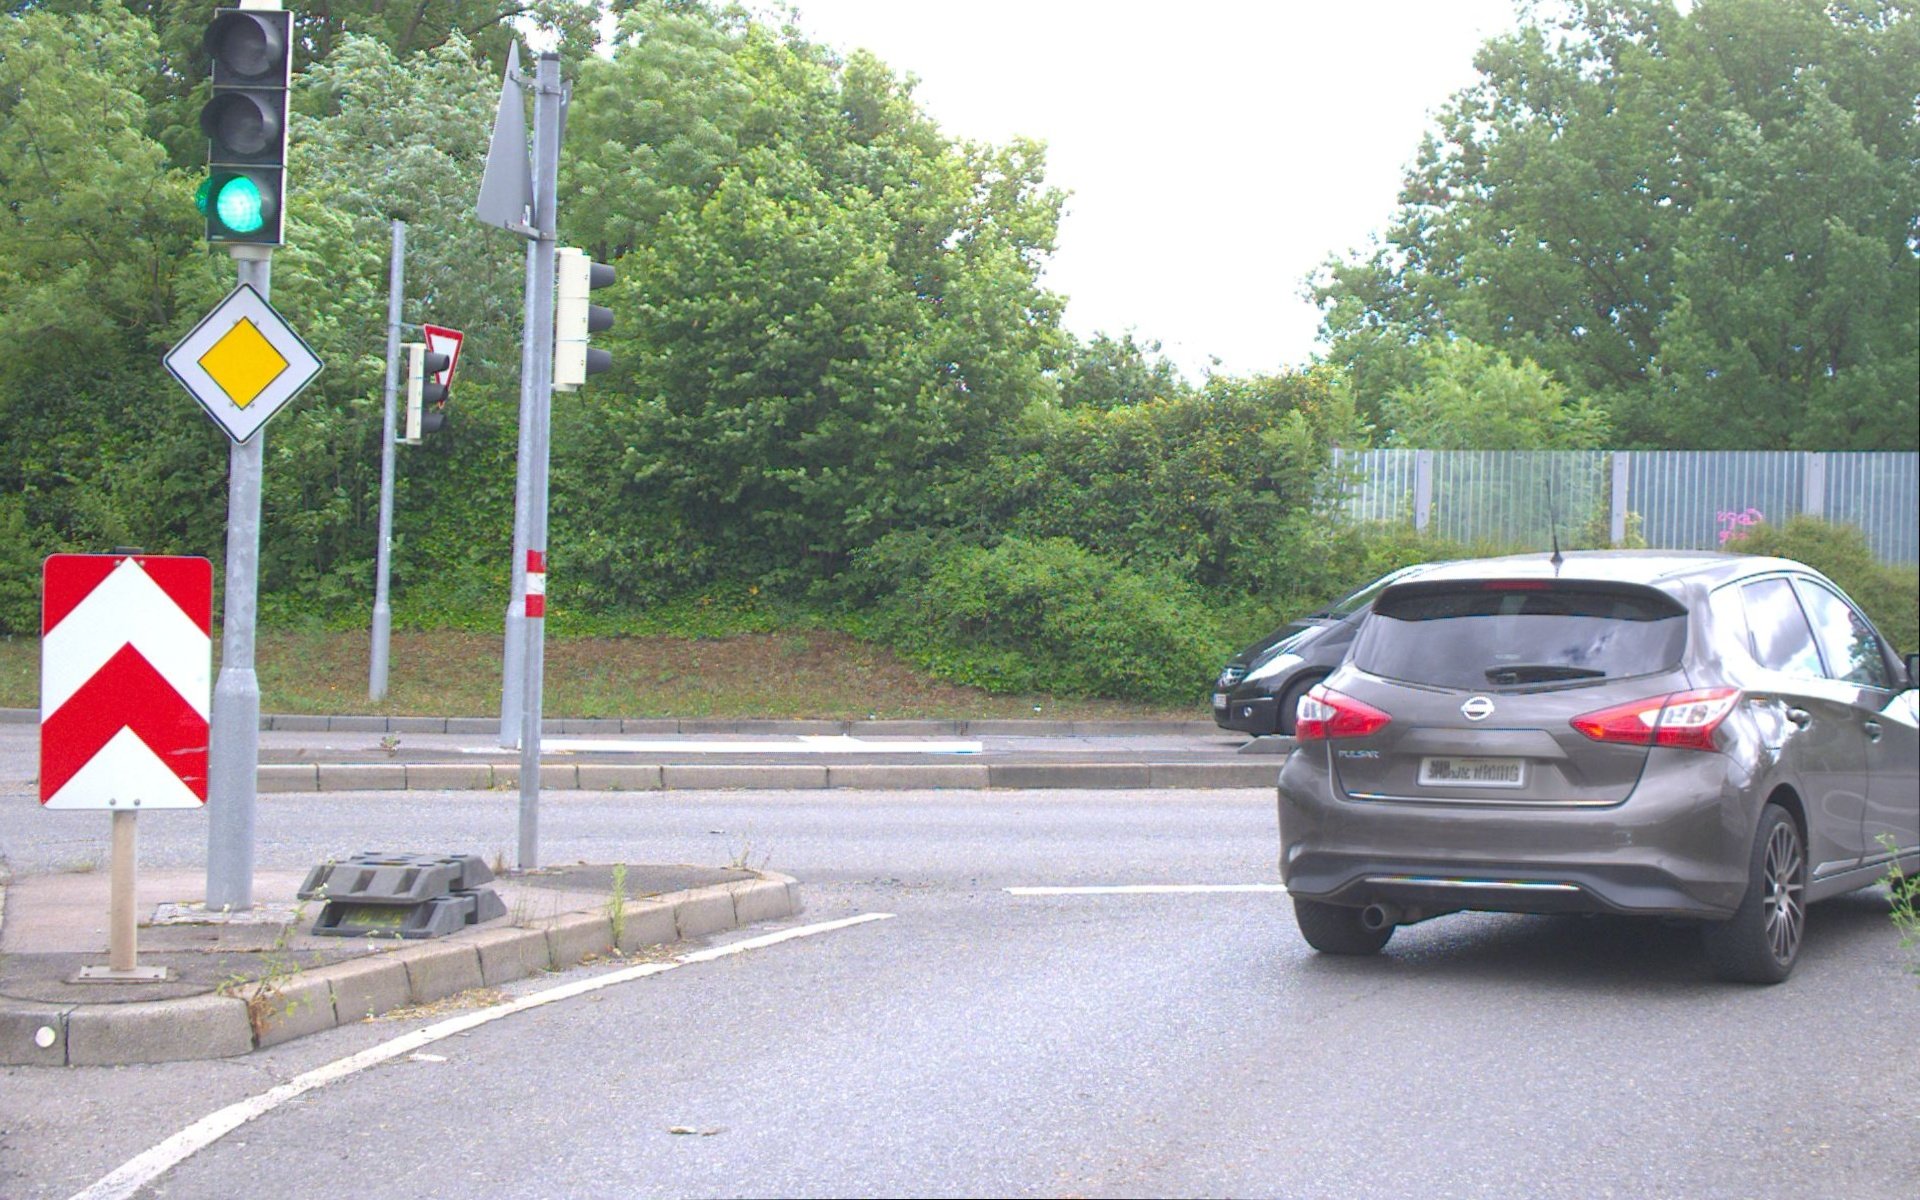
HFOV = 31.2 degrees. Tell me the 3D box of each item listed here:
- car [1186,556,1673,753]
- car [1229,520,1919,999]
[{"bbox_3d":[3.976,0.476,29.350,3.775,1.547,1.644,2,-1,-9],"label":"car"},{"bbox_3d":[2.685,0.503,13.390,1.800,1.547,3.994,1,1,28],"label":"car"}]
